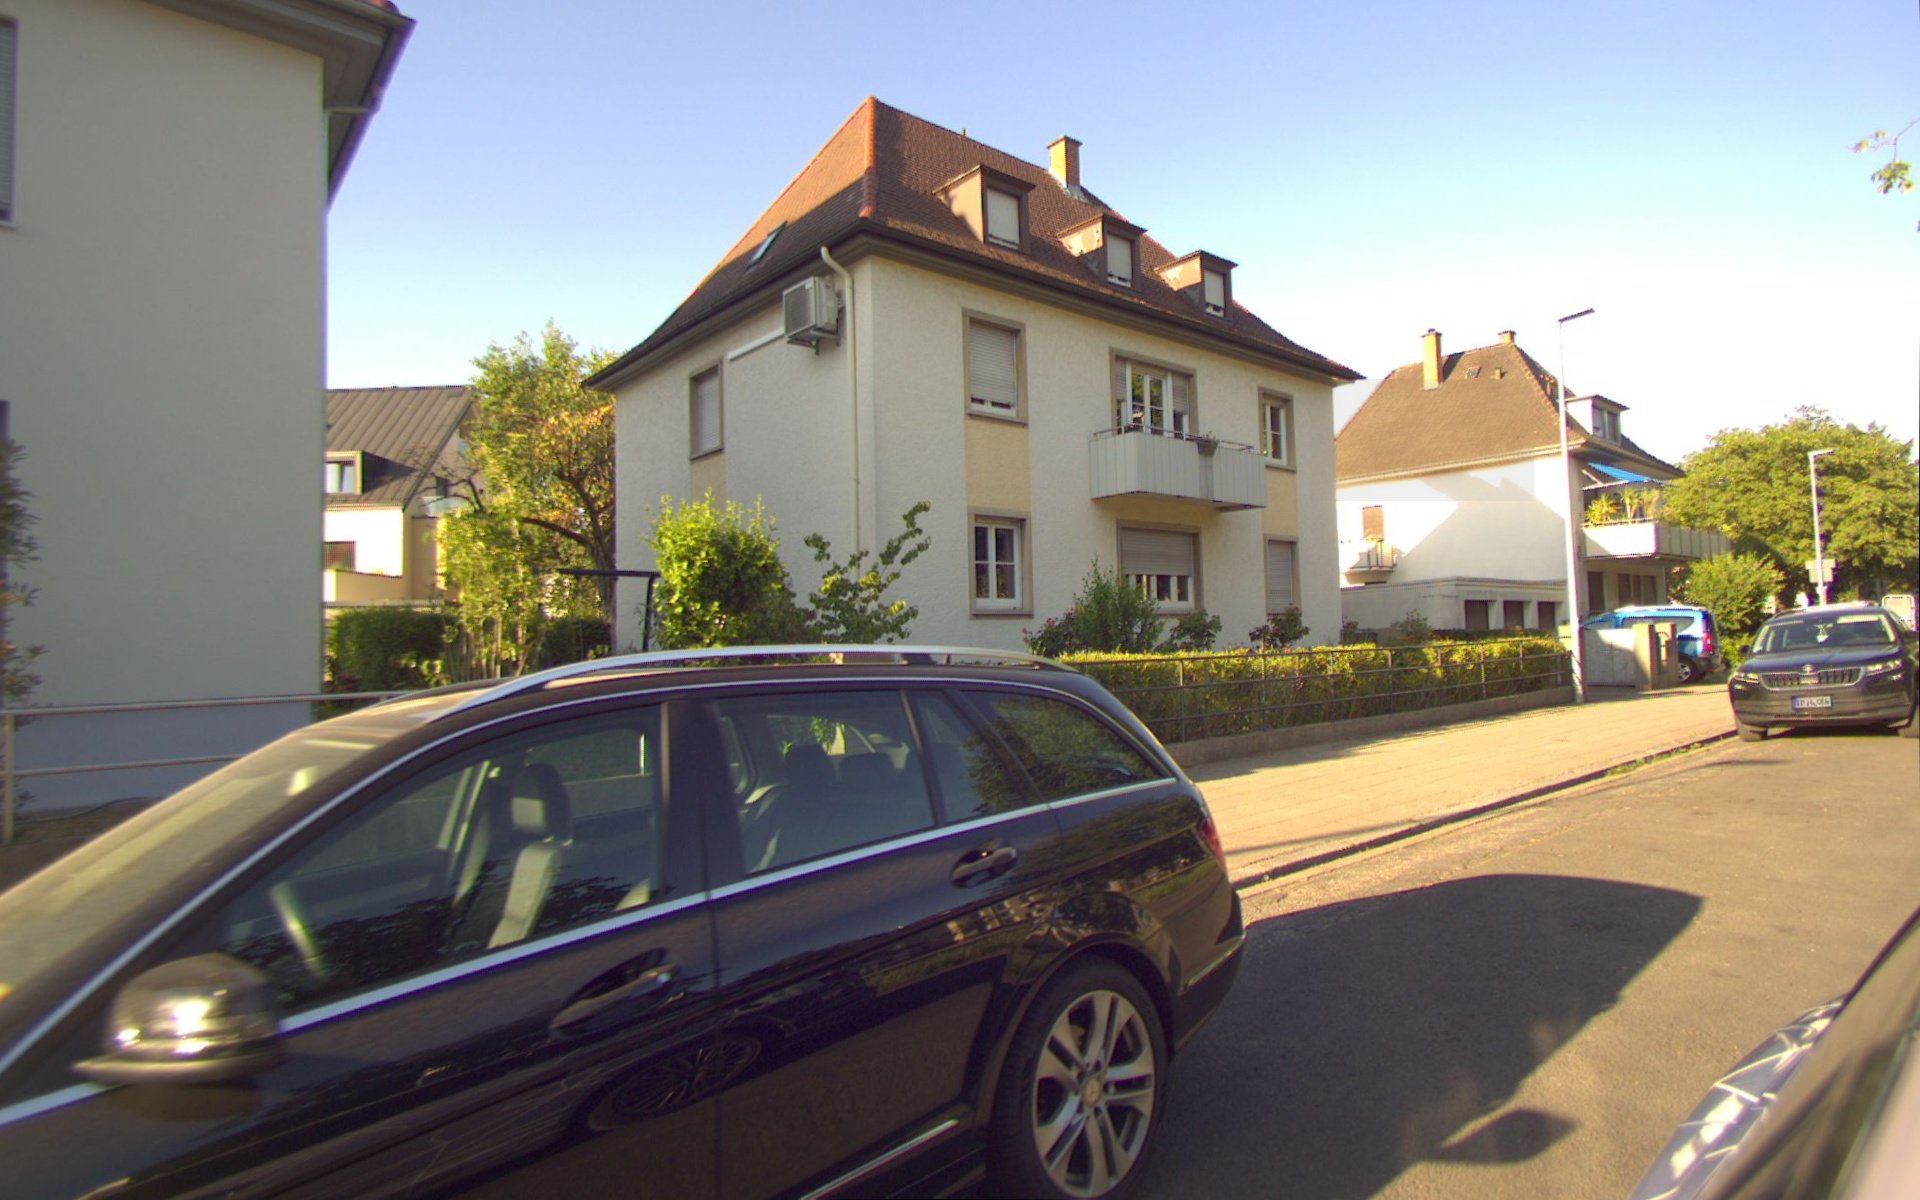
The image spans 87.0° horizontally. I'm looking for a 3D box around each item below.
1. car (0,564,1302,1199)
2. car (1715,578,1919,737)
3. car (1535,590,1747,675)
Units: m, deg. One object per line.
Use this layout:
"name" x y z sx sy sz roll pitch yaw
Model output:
"car" -1.210 0.795 2.264 4.322 1.519 1.781 0 -5 -42
"car" 11.953 0.748 13.626 4.391 1.743 1.859 0 -8 -42
"car" 16.863 0.837 25.184 1.966 1.953 3.989 1 -3 -43
